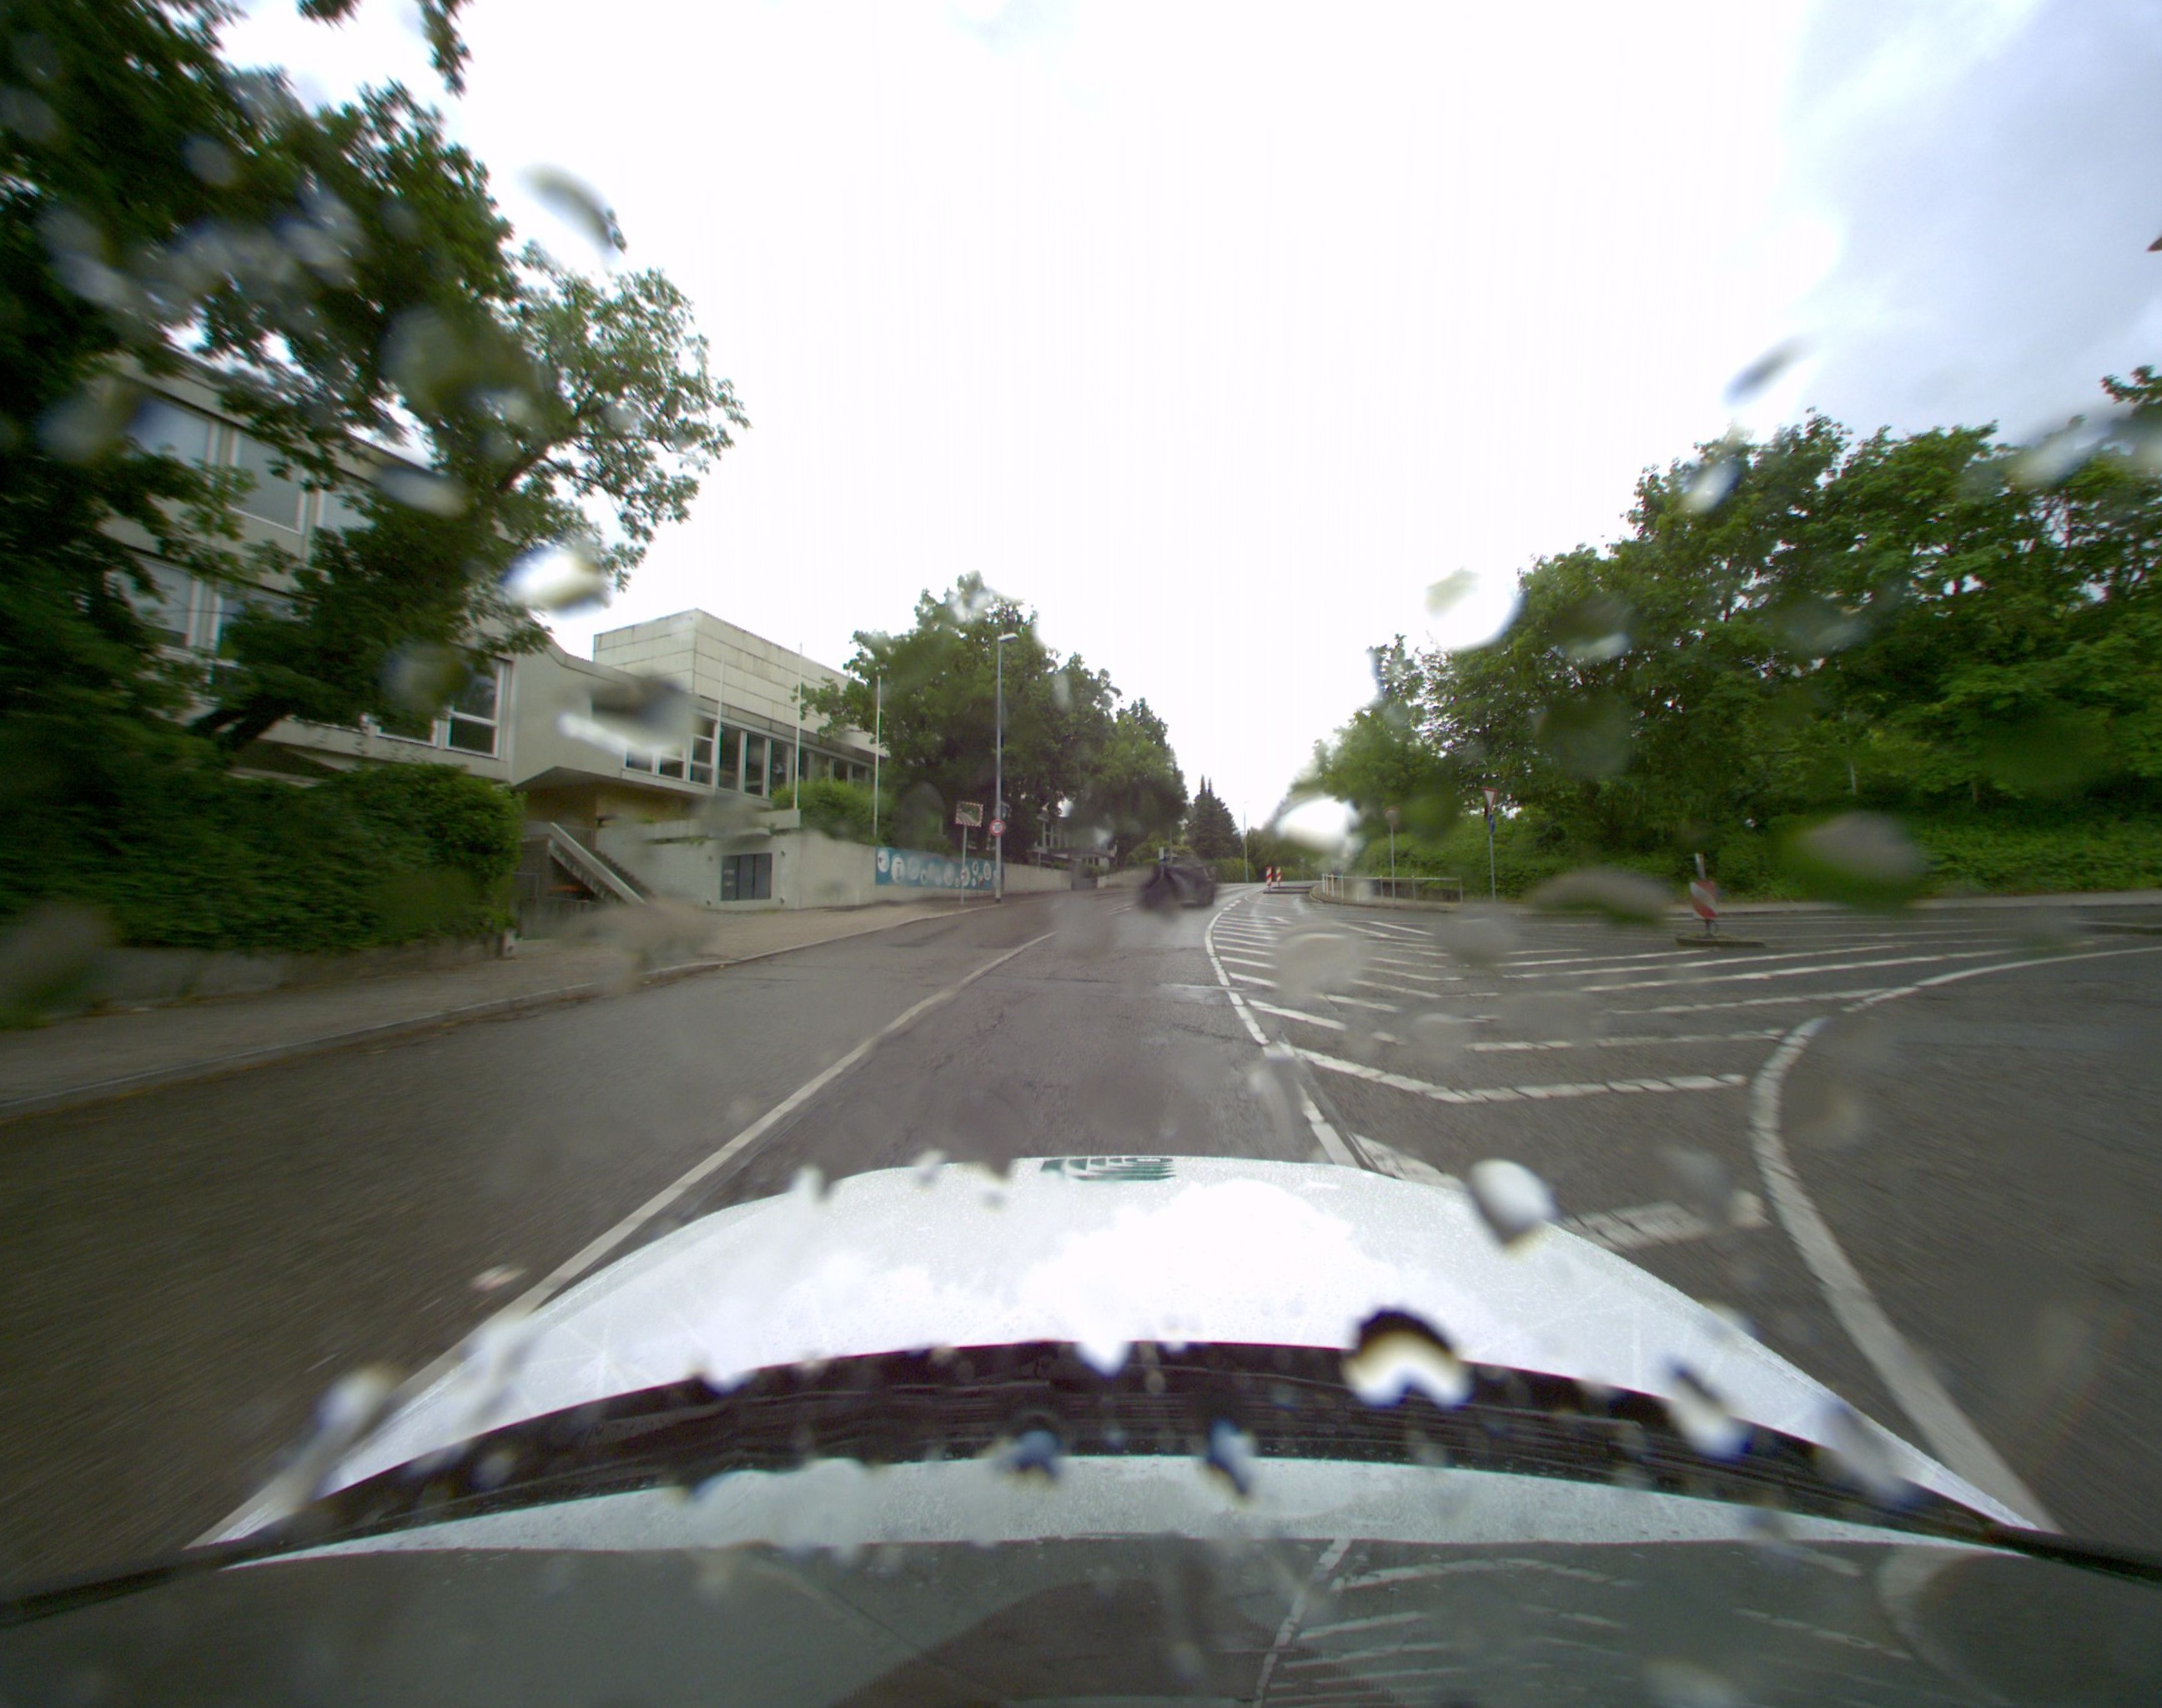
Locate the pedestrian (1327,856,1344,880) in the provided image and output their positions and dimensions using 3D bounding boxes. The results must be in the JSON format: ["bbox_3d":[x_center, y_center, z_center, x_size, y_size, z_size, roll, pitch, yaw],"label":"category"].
[{"bbox_3d":[19.625,1.070,62.866,1.076,1.722,1.170,-4,-2,14],"label":"pedestrian"}]

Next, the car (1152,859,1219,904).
[{"bbox_3d":[4.118,1.002,31.516,1.913,1.613,4.017,0,0,16],"label":"car"}]

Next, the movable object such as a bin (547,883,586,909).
[{"bbox_3d":[-17.775,1.450,28.134,1.023,0.793,0.606,-4,-1,20],"label":"movable object such as a bin"}]
